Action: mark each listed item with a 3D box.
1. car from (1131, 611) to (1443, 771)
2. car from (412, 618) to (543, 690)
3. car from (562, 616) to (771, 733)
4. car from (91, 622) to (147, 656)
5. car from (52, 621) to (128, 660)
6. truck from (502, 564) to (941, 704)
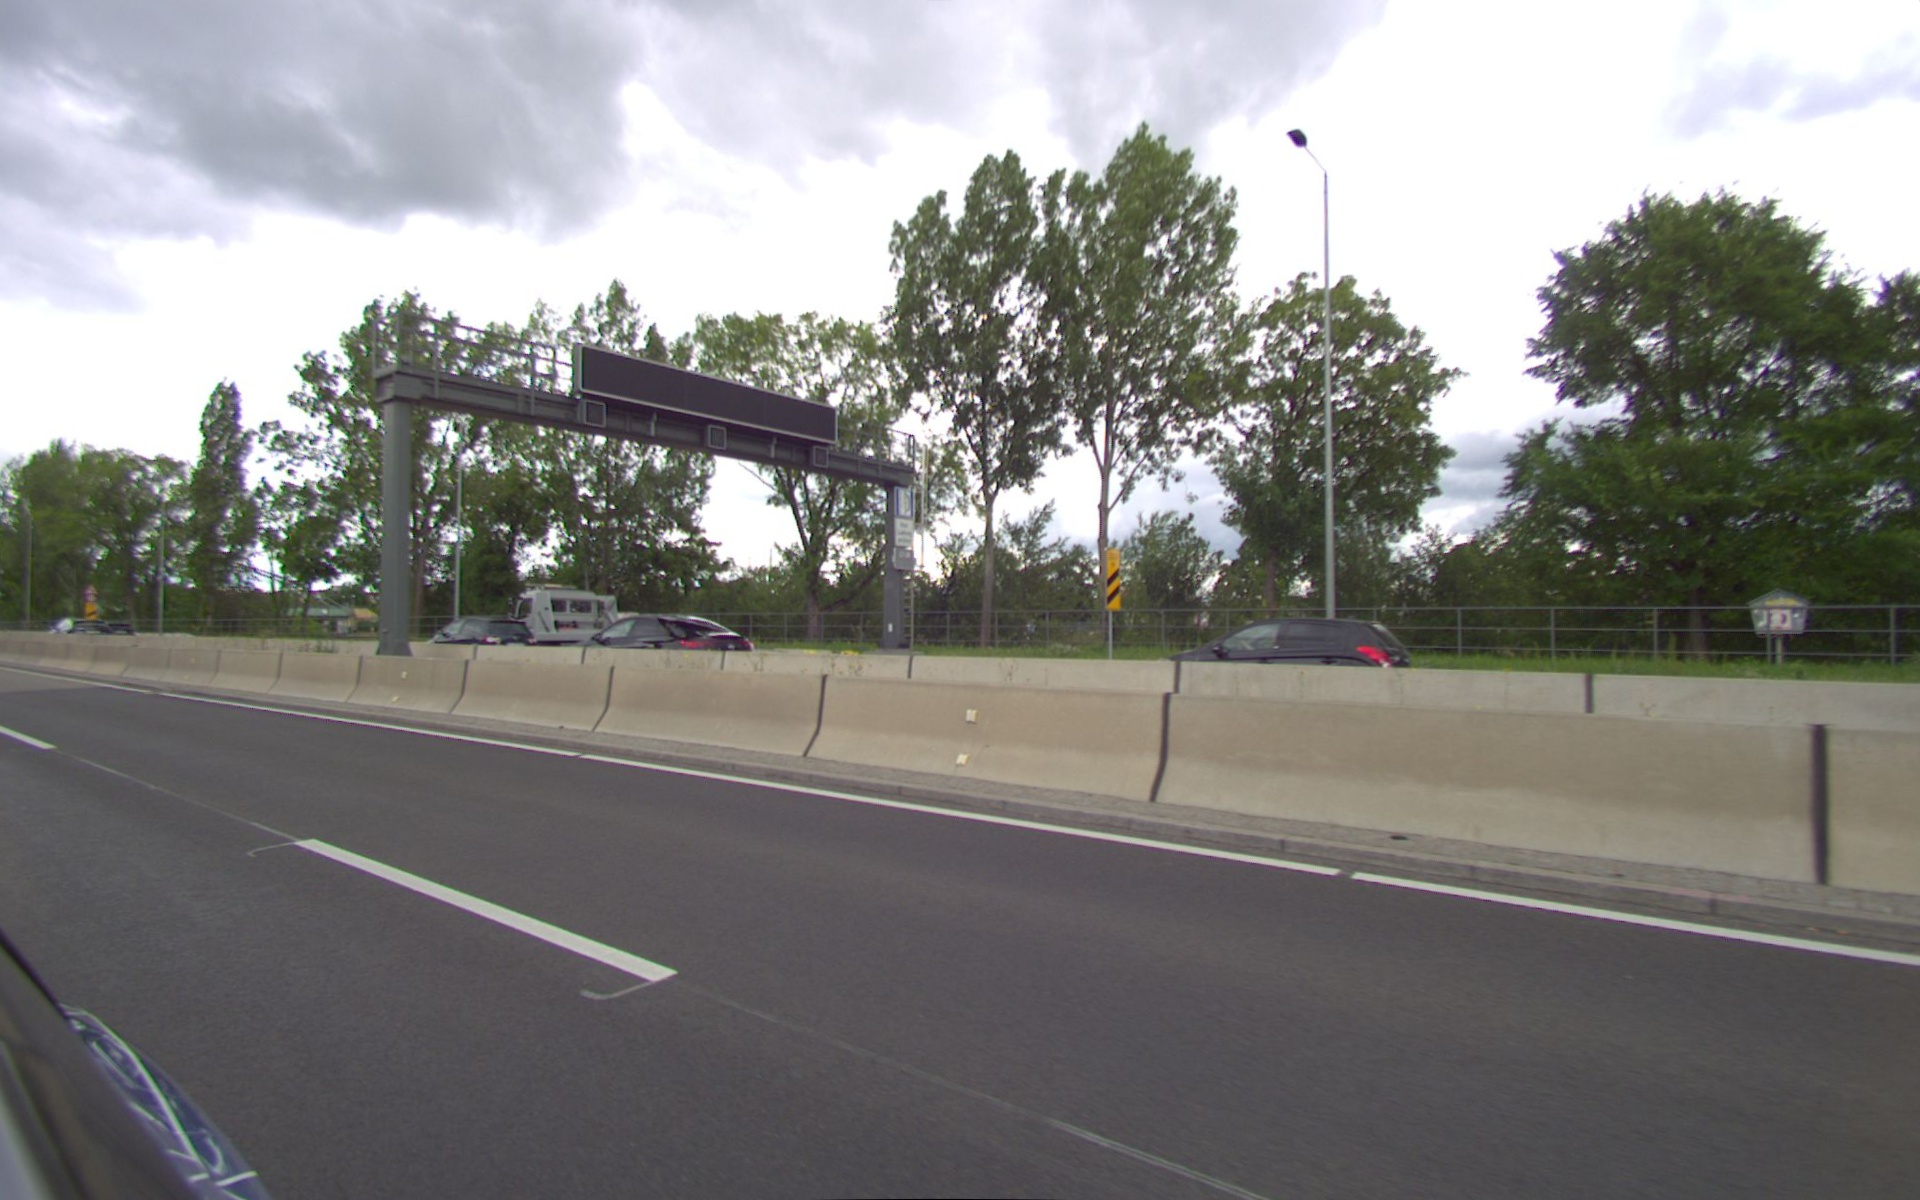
[{"bbox_3d":[4.848,1.244,15.239,3.995,2.029,1.974,-2,0,39],"label":"car"},{"bbox_3d":[-14.045,1.530,29.376,4.095,1.891,1.799,-2,0,39],"label":"car"},{"bbox_3d":[-5.577,1.324,19.042,3.996,1.918,1.799,-2,0,39],"label":"car"},{"bbox_3d":[-52.501,2.426,63.150,3.996,2.029,1.974,-2,0,39],"label":"car"},{"bbox_3d":[-39.806,1.841,46.280,4.451,1.630,1.907,-2,0,39],"label":"car"},{"bbox_3d":[-7.590,0.949,28.675,15.864,3.130,2.827,-2,0,38],"label":"truck"}]
